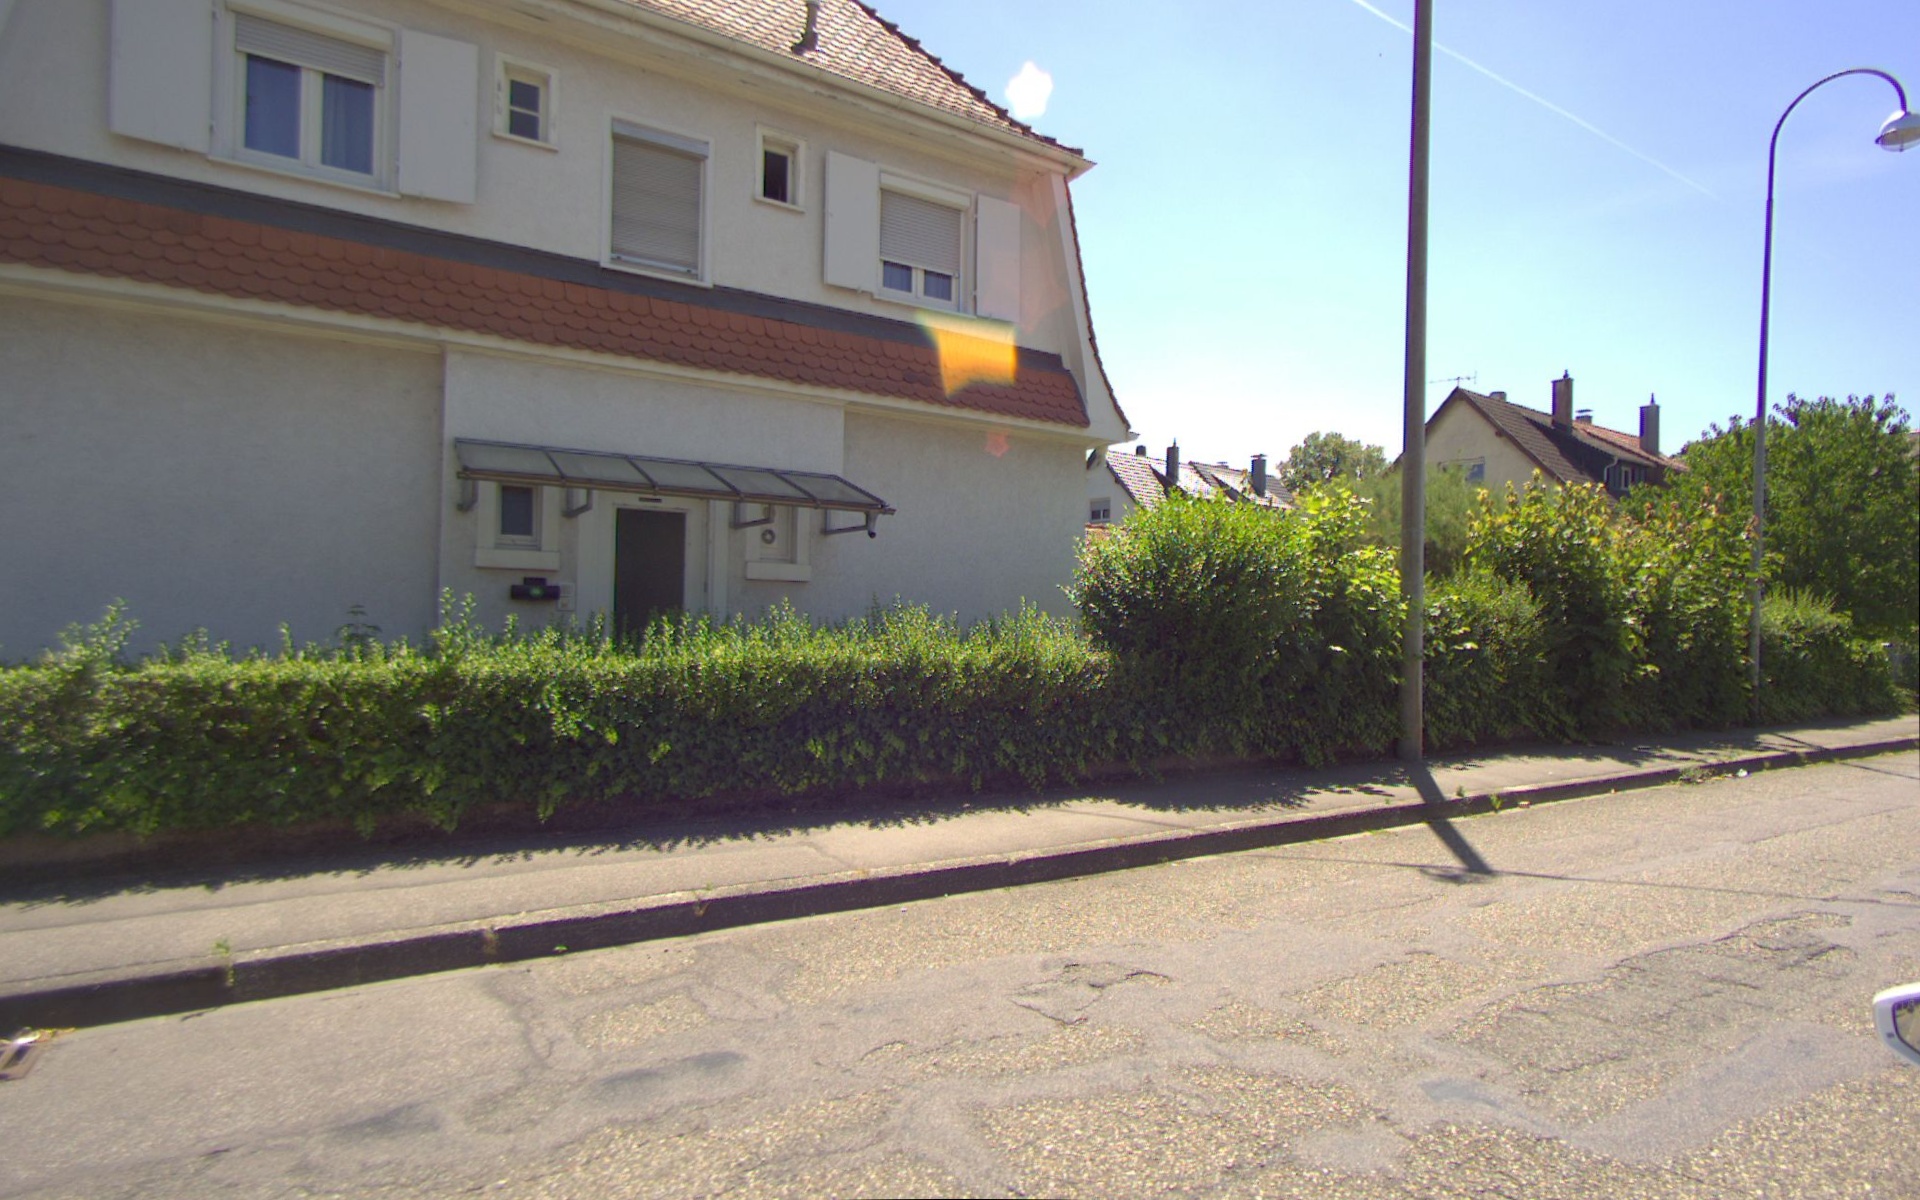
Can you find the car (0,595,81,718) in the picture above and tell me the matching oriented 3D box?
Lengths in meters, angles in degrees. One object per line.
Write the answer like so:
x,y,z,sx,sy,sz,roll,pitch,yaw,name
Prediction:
-13.010,0.669,13.373,1.759,1.460,3.761,1,0,-38,car
